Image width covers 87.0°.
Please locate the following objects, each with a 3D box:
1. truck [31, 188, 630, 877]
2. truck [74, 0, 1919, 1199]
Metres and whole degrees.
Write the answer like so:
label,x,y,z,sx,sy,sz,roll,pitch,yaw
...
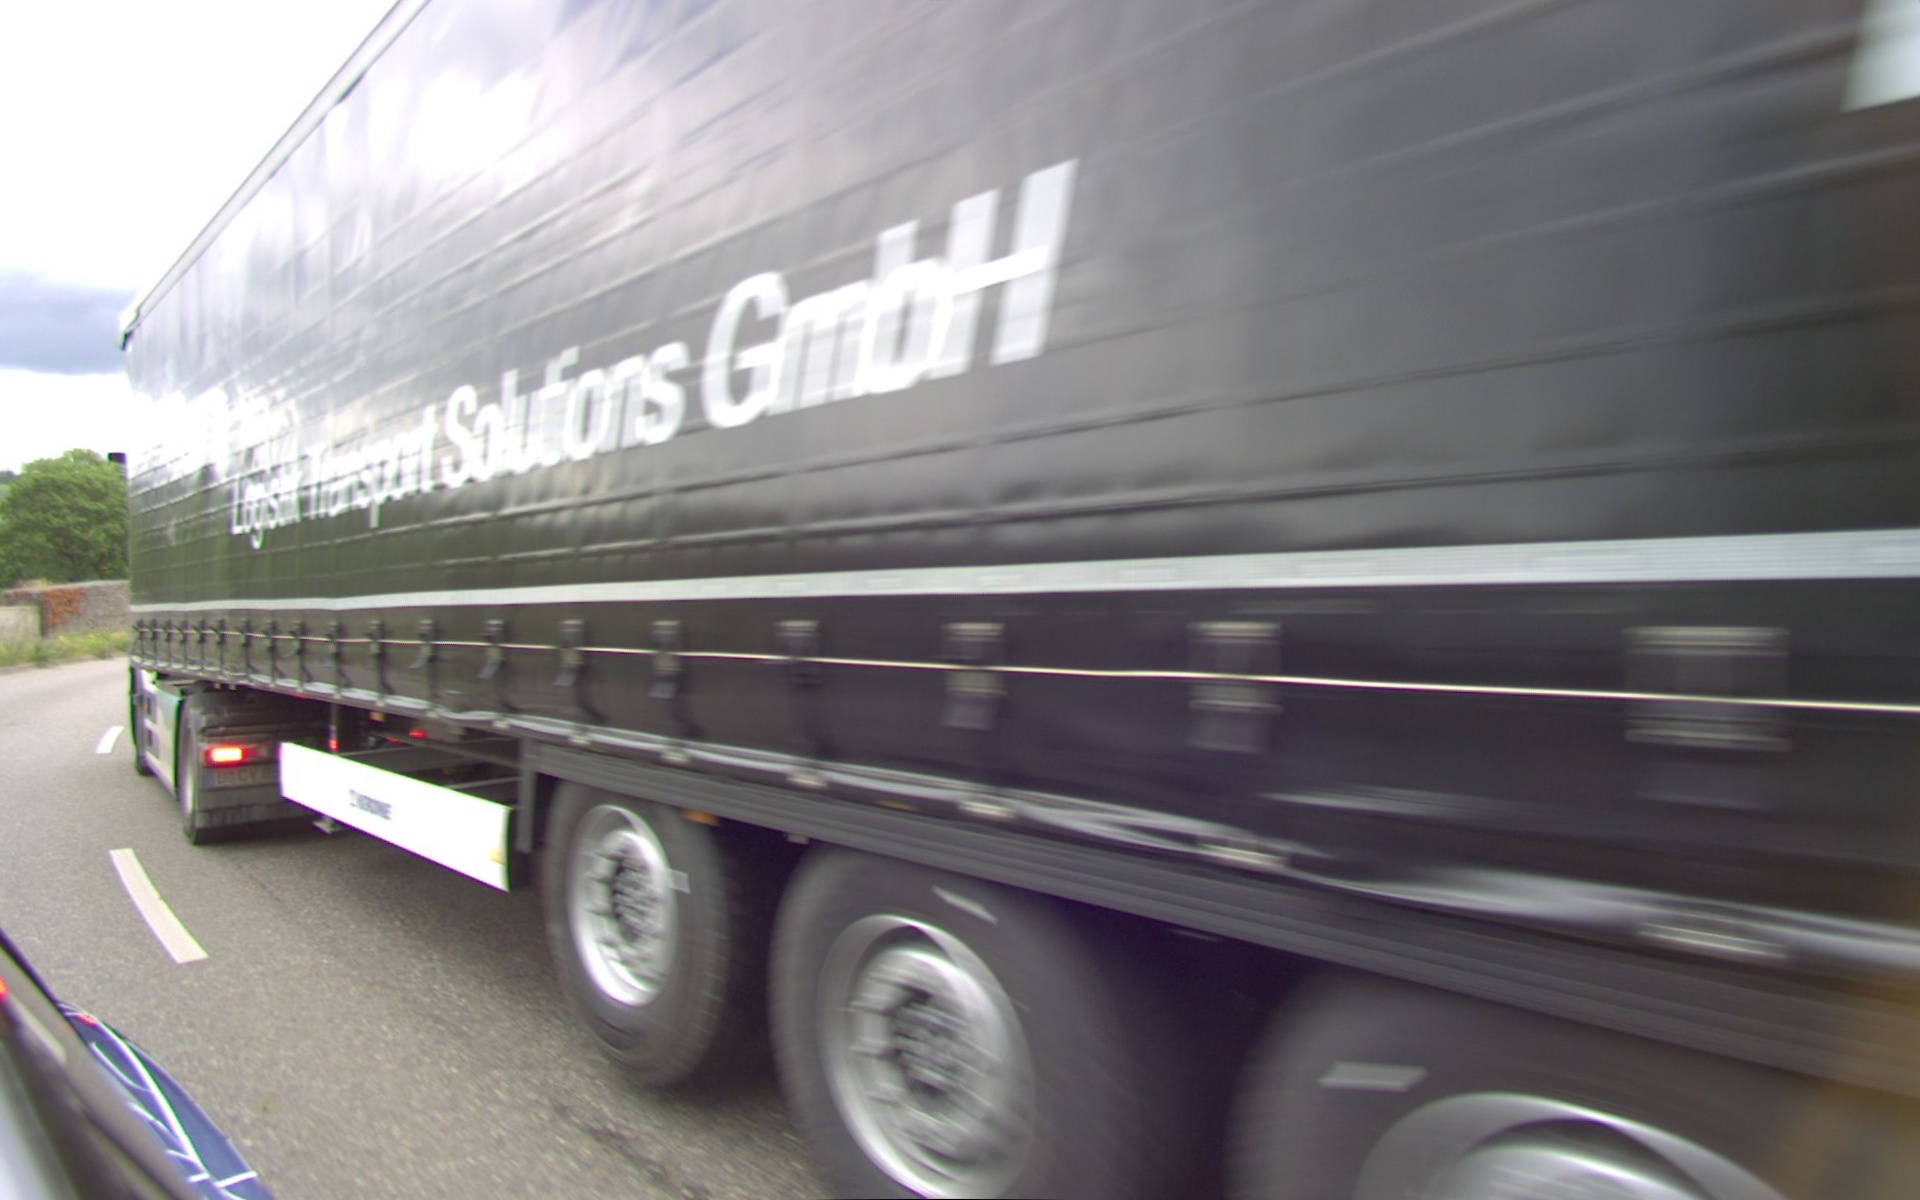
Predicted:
label,x,y,z,sx,sy,sz,roll,pitch,yaw
truck,-5.846,-0.310,8.930,6.326,3.980,2.676,-2,-3,41
truck,-0.783,-0.442,4.297,13.829,3.980,2.676,-2,-3,42
